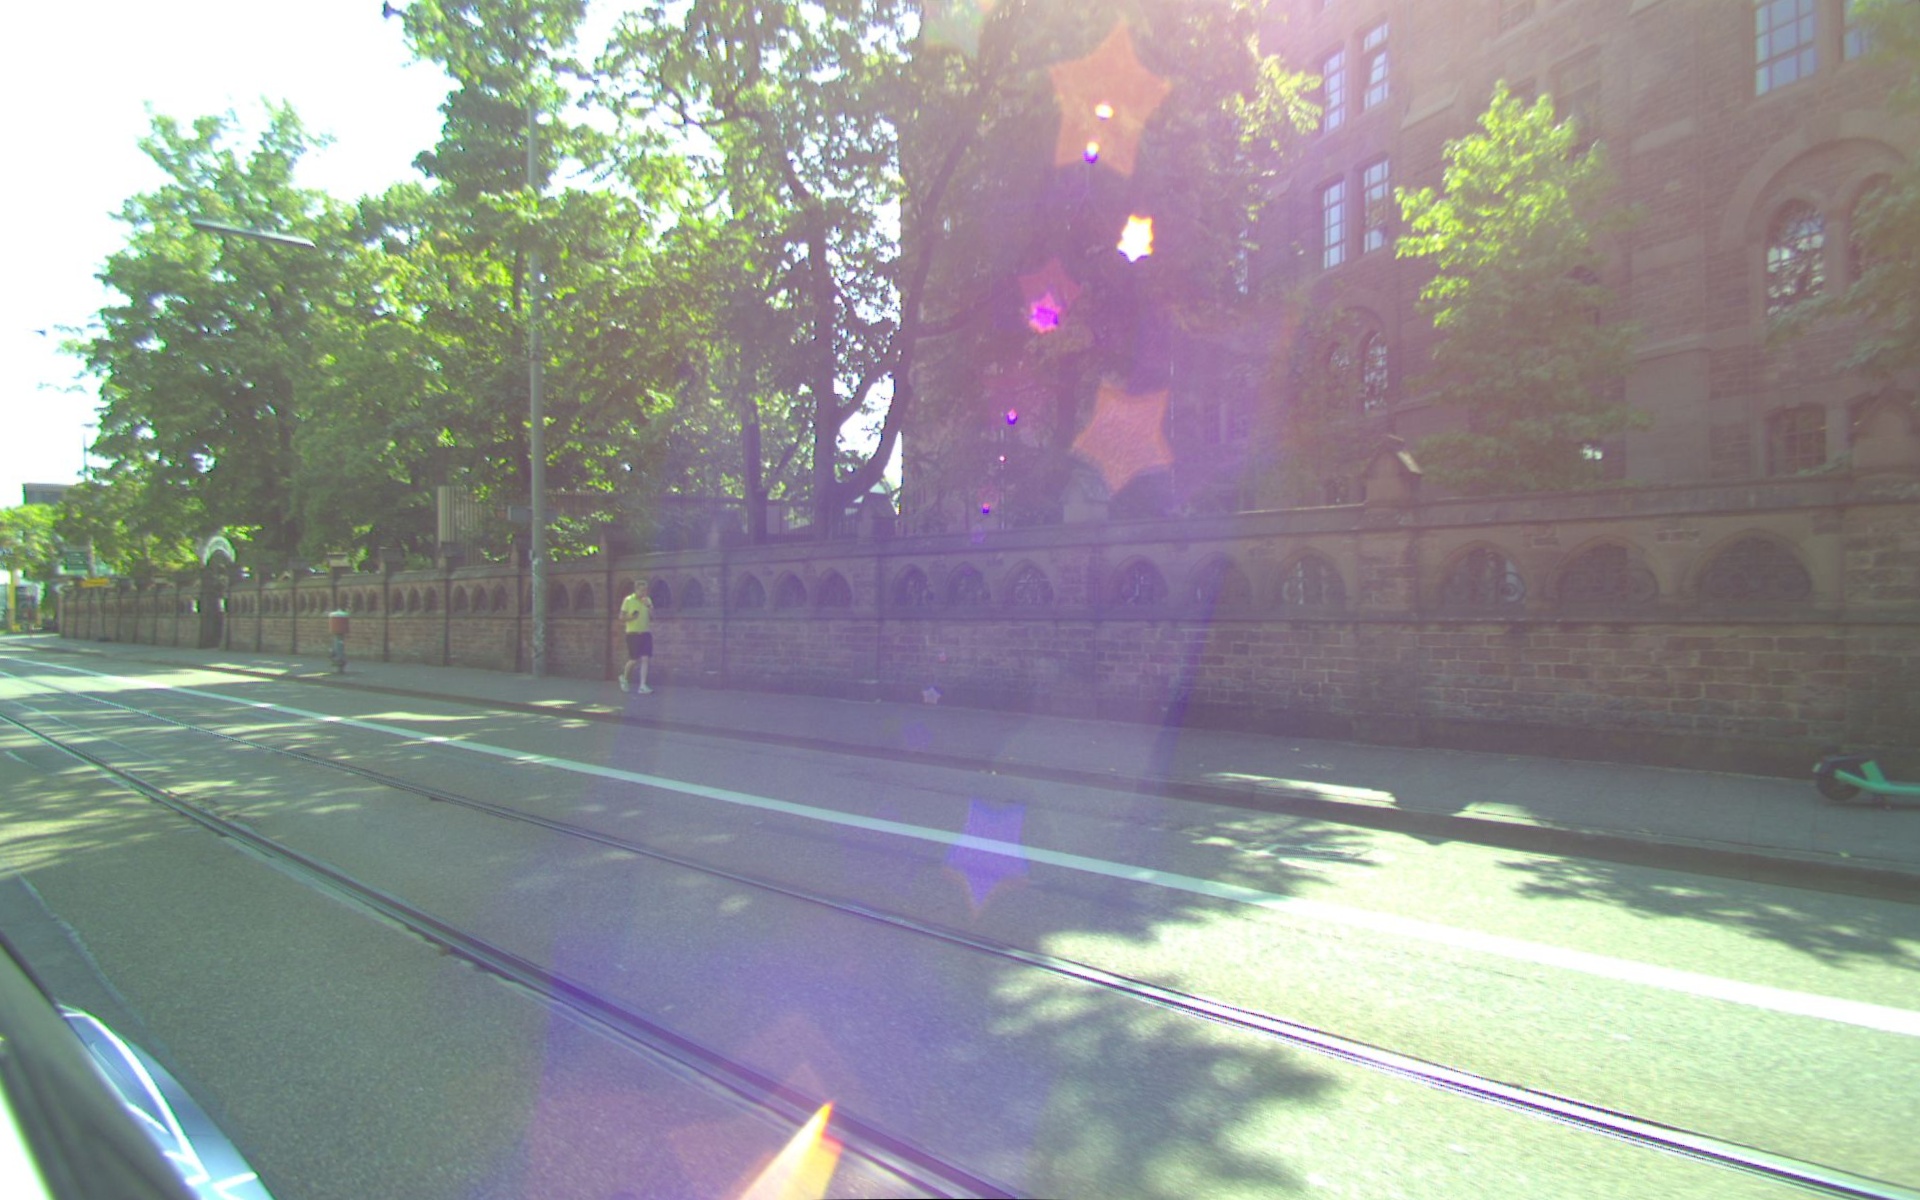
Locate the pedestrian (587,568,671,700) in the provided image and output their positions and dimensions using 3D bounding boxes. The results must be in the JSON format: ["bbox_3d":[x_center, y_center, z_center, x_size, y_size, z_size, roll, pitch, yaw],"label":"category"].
[{"bbox_3d":[-5.284,0.522,16.161,0.982,2.029,0.855,-1,0,39],"label":"pedestrian"}]

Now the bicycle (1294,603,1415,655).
[{"bbox_3d":[9.028,0.649,23.154,2.642,1.105,0.904,-1,0,-20],"label":"bicycle"}]

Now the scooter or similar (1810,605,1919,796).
[{"bbox_3d":[6.296,0.625,6.413,1.309,1.187,0.418,-1,0,25],"label":"scooter or similar"}]
